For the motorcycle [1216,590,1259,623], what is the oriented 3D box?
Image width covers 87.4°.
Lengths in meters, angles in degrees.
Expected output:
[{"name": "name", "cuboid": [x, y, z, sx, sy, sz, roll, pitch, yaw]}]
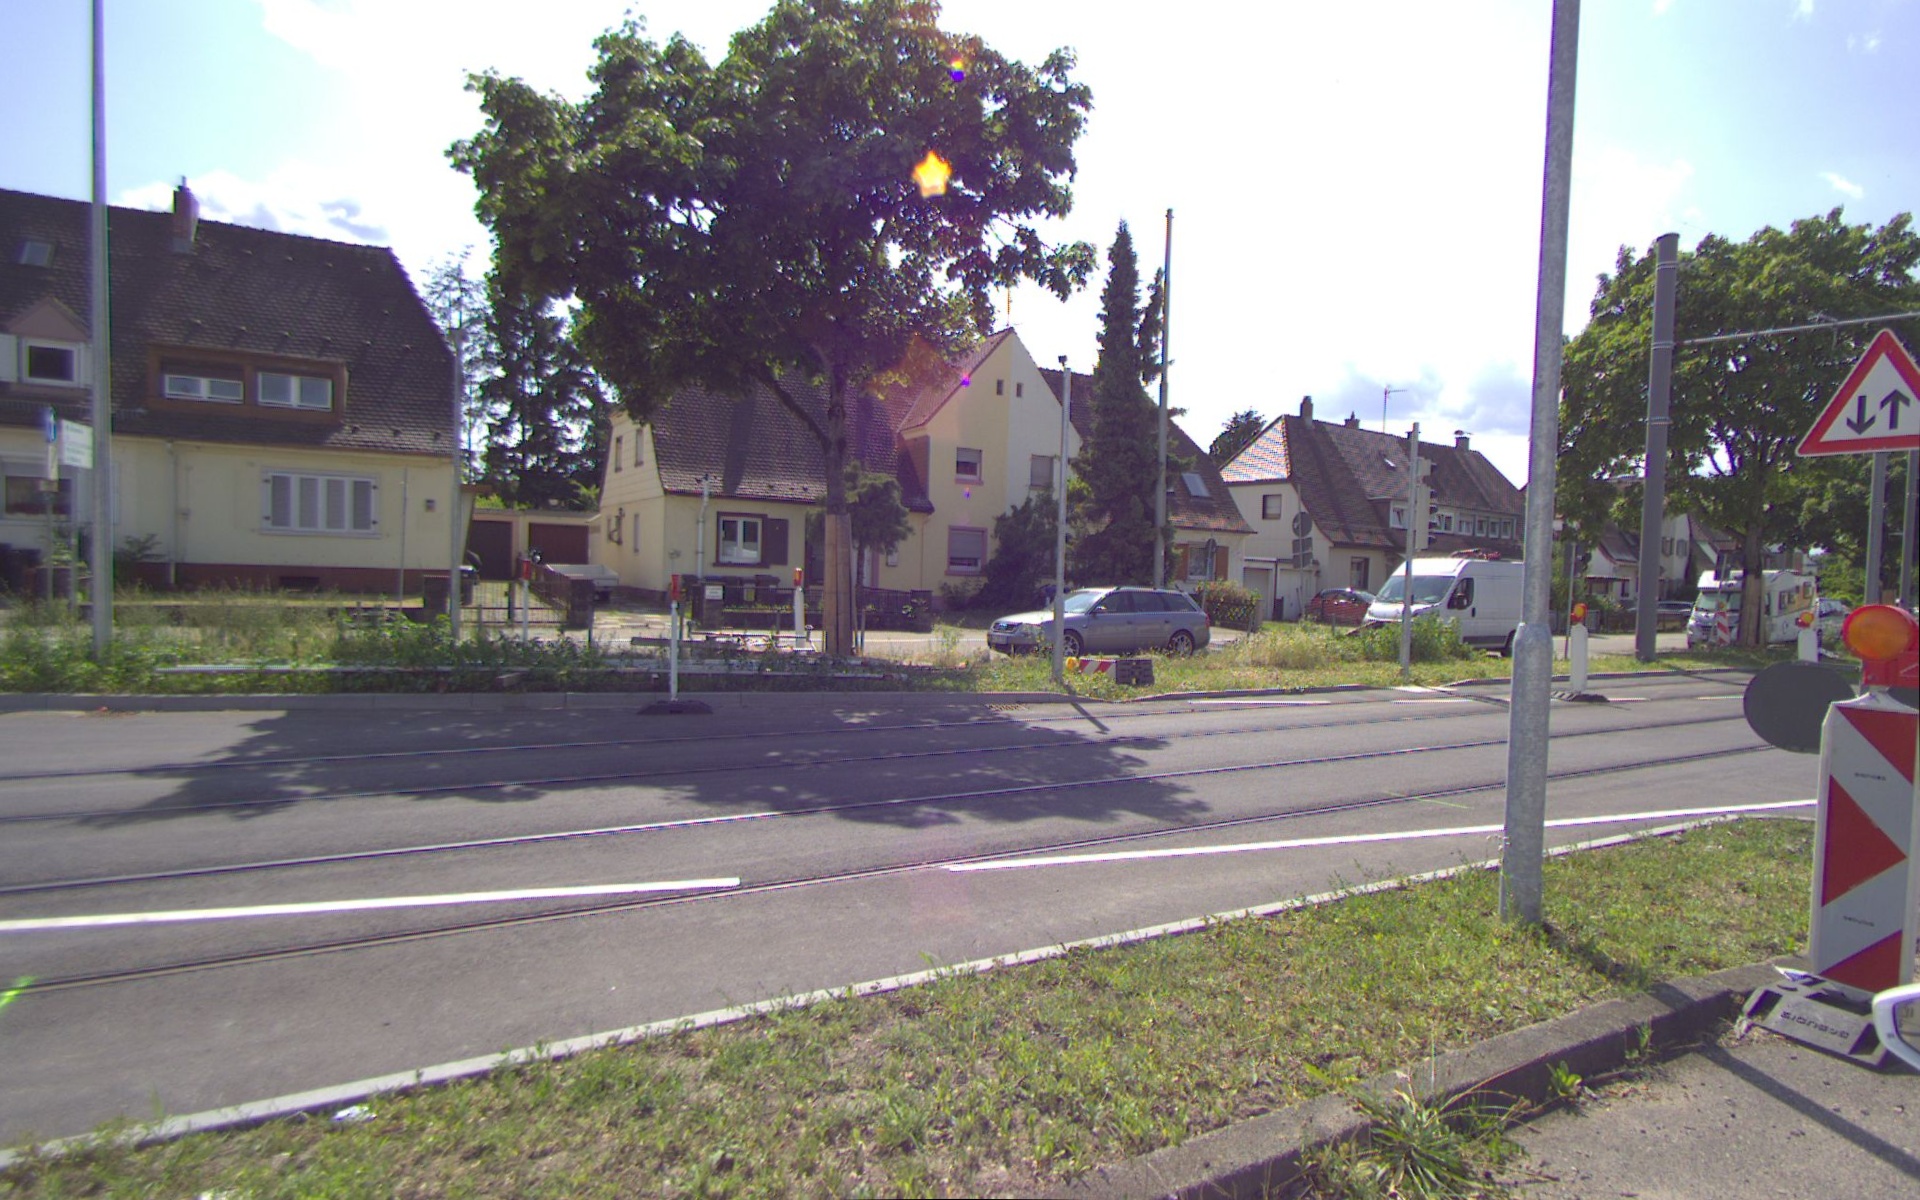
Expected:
[{"name": "motorcycle", "cuboid": [10.399, 0.256, 37.588, 1.776, 1.185, 0.493, 1, 2, -36]}]

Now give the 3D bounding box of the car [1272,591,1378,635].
[{"name": "car", "cuboid": [14.282, 0.480, 39.408, 1.653, 1.542, 3.594, 1, 2, -34]}]

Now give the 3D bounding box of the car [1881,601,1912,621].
[{"name": "car", "cuboid": [132.930, 1.533, 142.662, 2.045, 2.757, 6.981, 1, 0, 34]}]

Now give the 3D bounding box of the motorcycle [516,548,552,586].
[{"name": "motorcycle", "cuboid": [-15.549, -1.190, 36.616, 0.903, 1.305, 2.799, 1, 1, -29]}]

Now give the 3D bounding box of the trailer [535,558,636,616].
[{"name": "trailer", "cuboid": [-10.458, -0.416, 27.796, 1.998, 1.412, 5.234, 1, 1, -27]}]

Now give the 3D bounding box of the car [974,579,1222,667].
[{"name": "car", "cuboid": [2.707, 0.433, 19.288, 4.701, 1.484, 1.683, 1, 2, -31]}]

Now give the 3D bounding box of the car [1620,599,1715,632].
[{"name": "car", "cuboid": [39.216, 0.861, 55.721, 1.859, 1.551, 3.952, 1, 3, -40]}]

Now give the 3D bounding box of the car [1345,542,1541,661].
[{"name": "car", "cuboid": [12.112, 0.042, 25.103, 4.863, 2.704, 2.140, 1, 2, -33]}]

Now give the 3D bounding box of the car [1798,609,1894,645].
[{"name": "car", "cuboid": [38.704, 1.191, 43.854, 4.755, 1.406, 1.842, 1, 2, -32]}]

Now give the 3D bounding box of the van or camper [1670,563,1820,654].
[{"name": "van or camper", "cuboid": [28.568, 0.310, 36.445, 7.226, 3.010, 2.359, 1, 1, -36]}]

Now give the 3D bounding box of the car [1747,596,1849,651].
[{"name": "car", "cuboid": [34.135, 0.957, 40.880, 4.856, 2.041, 1.979, 1, 2, -36]}]

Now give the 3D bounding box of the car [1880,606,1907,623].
[{"name": "car", "cuboid": [110.238, 1.715, 118.585, 5.044, 1.792, 1.864, 1, 2, -42]}]
